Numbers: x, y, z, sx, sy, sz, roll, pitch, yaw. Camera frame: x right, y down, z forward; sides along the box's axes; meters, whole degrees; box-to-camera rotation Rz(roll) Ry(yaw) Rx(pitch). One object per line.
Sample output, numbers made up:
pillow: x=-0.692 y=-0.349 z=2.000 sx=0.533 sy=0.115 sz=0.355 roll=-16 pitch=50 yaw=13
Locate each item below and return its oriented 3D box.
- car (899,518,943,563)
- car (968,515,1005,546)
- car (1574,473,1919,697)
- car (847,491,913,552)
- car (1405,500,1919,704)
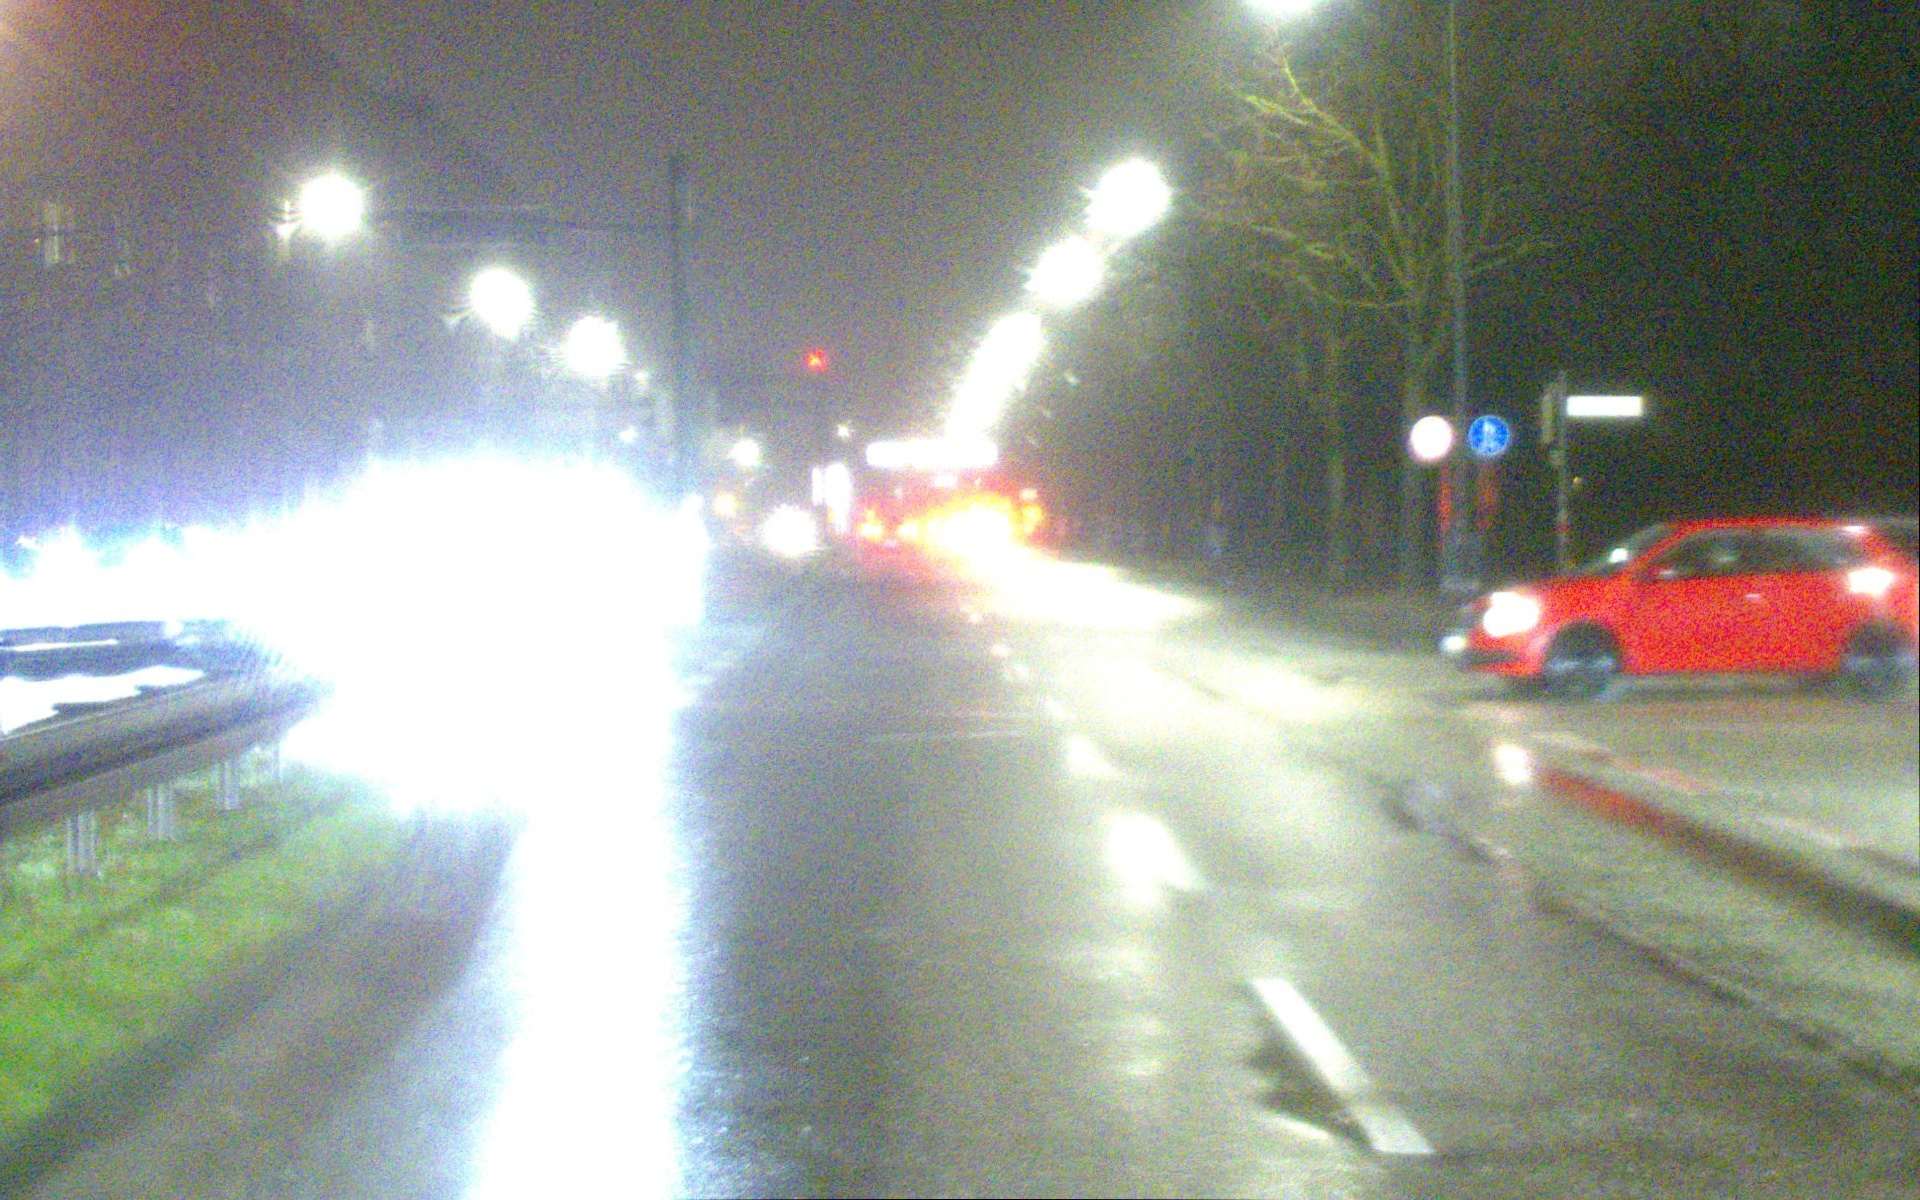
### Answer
car: x=-1.680 y=-2.536 z=147.647 sx=1.791 sy=1.868 sz=4.627 roll=1 pitch=1 yaw=-1
car: x=1.525 y=-3.981 z=197.128 sx=1.993 sy=1.753 sz=4.000 roll=1 pitch=1 yaw=-1
car: x=8.796 y=-0.159 z=34.343 sx=4.917 sy=2.137 sz=2.140 roll=1 pitch=1 yaw=20
car: x=-2.734 y=-2.649 z=116.817 sx=1.993 sy=2.007 sz=4.633 roll=1 pitch=1 yaw=-4
car: x=5.908 y=0.007 z=28.507 sx=4.067 sy=1.582 sz=1.912 roll=1 pitch=1 yaw=-5
